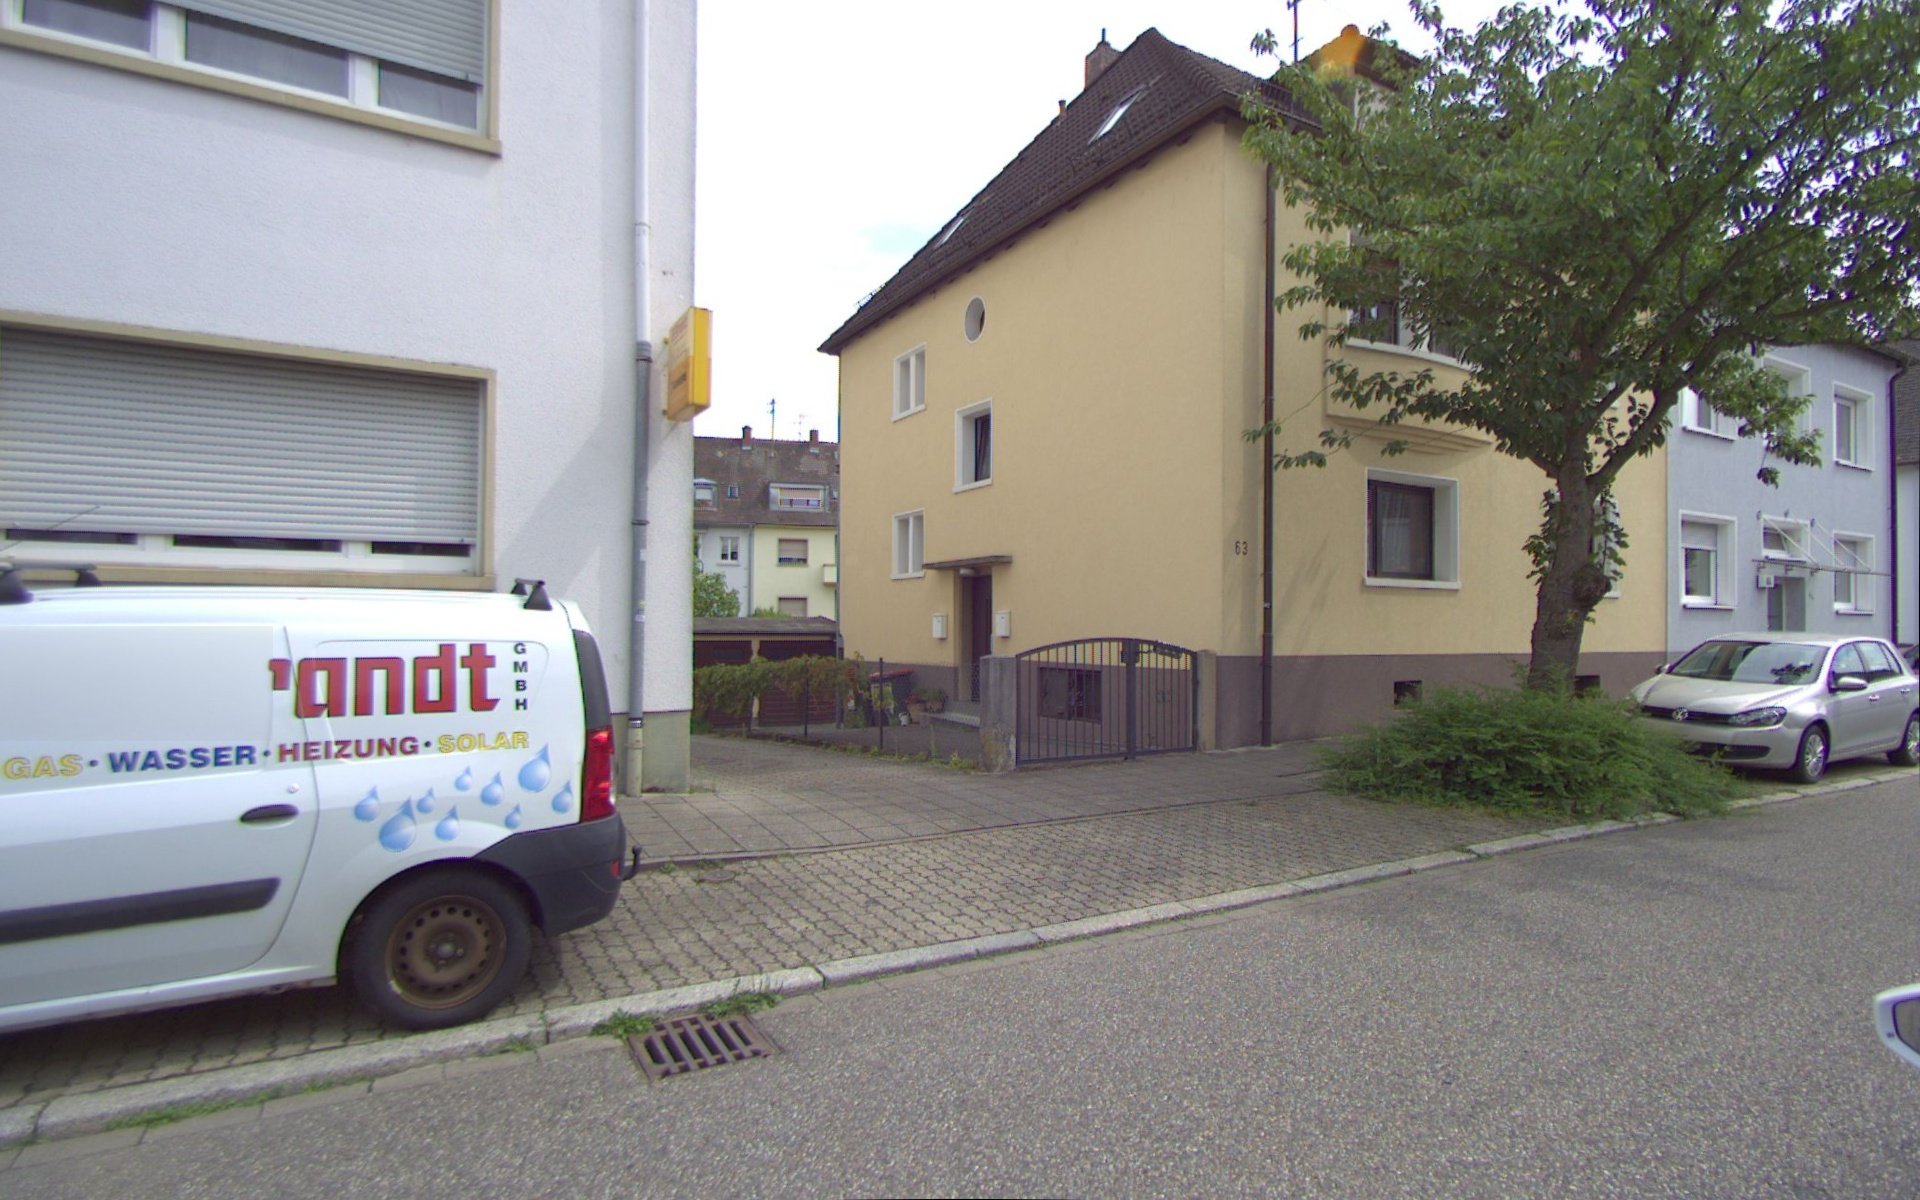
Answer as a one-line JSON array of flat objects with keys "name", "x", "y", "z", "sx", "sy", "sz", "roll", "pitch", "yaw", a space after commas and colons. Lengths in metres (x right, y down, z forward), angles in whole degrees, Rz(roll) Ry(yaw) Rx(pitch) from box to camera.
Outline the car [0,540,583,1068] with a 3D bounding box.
[{"name": "car", "x": -3.810, "y": 0.661, "z": 3.663, "sx": 4.330, "sy": 1.602, "sz": 1.910, "roll": 1, "pitch": -4, "yaw": -30}]

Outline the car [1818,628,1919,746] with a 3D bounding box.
[{"name": "car", "x": 14.215, "y": 1.167, "z": 14.127, "sx": 4.459, "sy": 1.505, "sz": 1.869, "roll": 1, "pitch": -4, "yaw": -30}]

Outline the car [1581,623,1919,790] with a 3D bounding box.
[{"name": "car", "x": 9.089, "y": 1.058, "z": 11.236, "sx": 4.223, "sy": 1.411, "sz": 1.763, "roll": 1, "pitch": 4, "yaw": -30}]
